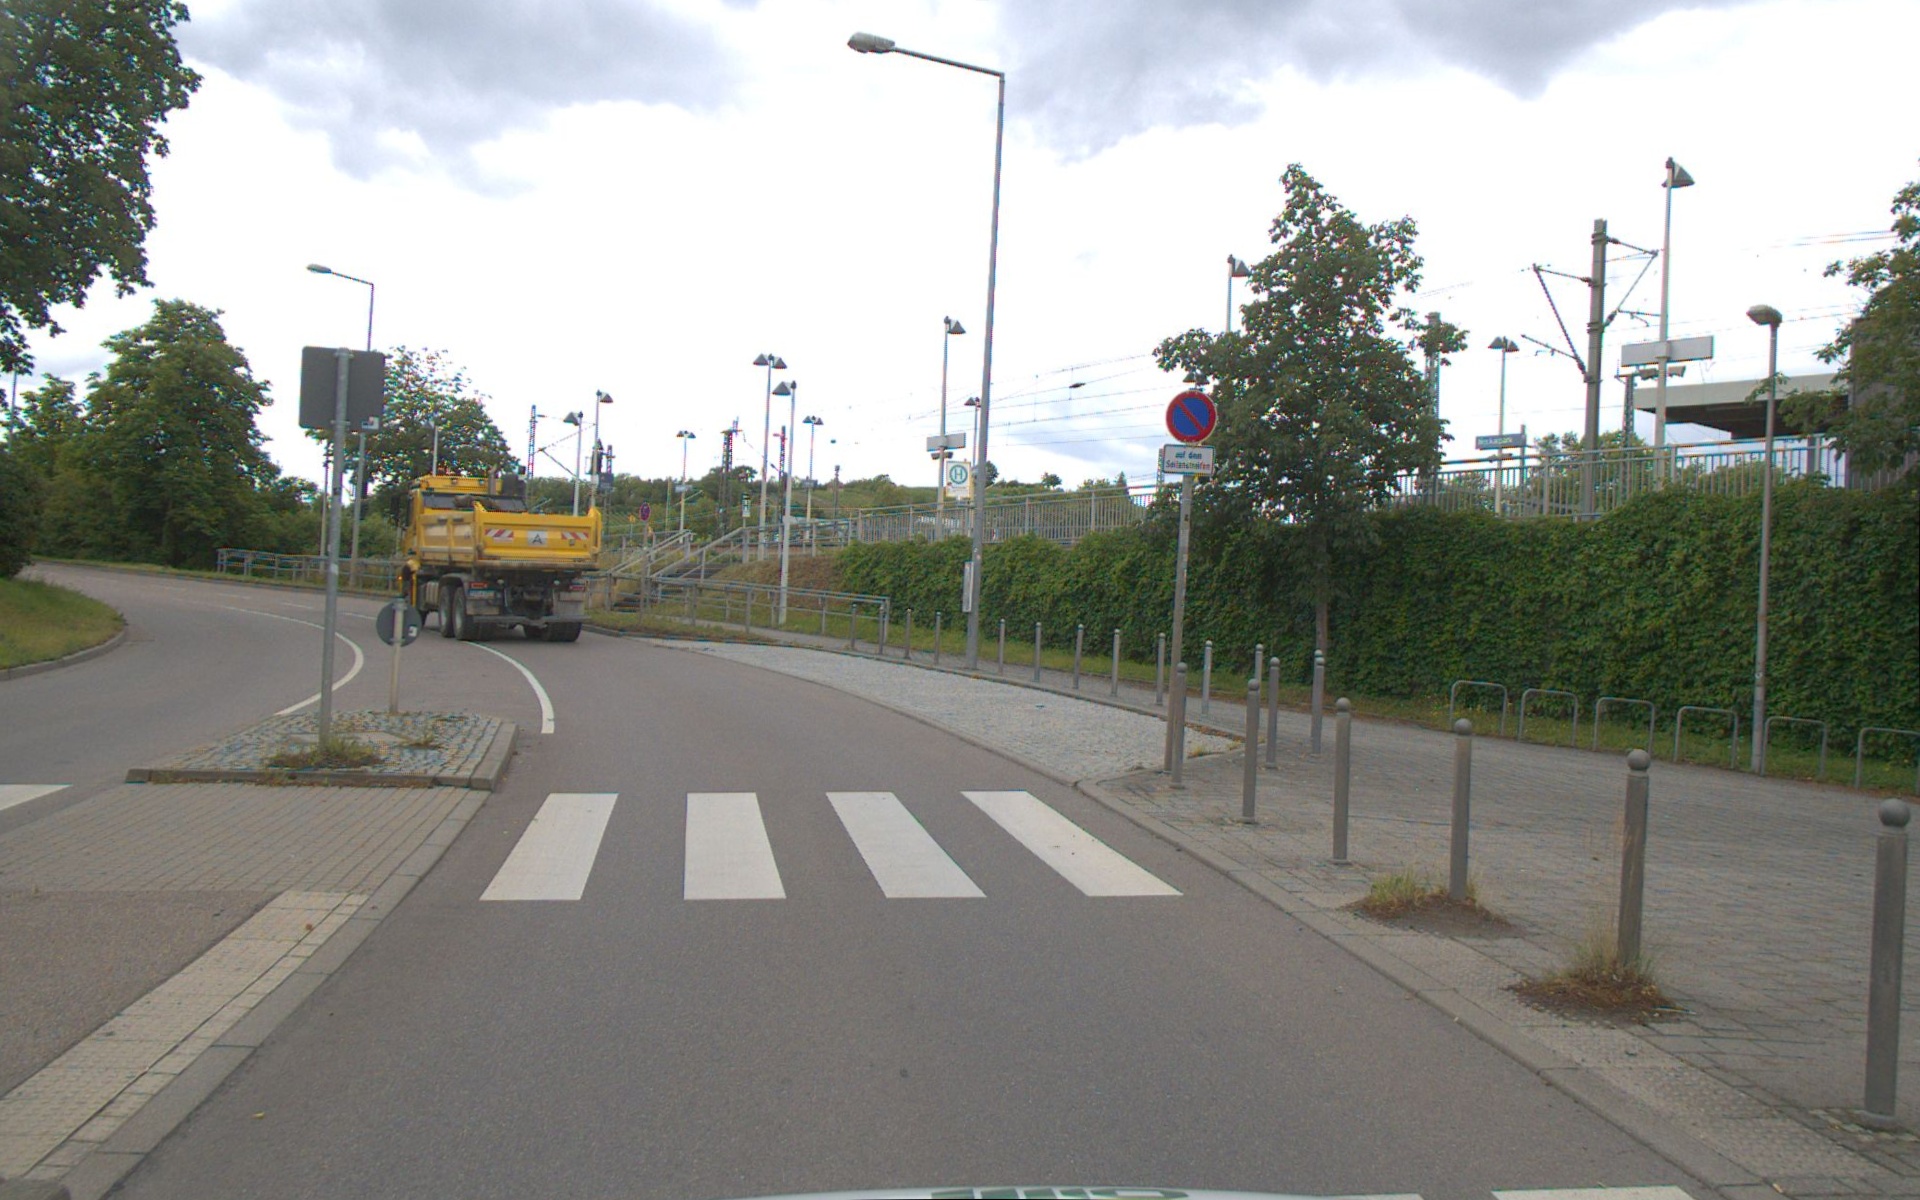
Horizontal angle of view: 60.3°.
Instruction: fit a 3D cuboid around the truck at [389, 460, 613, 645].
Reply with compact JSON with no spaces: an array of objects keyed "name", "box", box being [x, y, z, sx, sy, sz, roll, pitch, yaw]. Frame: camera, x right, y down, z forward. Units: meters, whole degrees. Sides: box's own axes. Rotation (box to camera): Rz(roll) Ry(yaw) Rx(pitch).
[{"name":"truck","box":[-10.182,-1.075,35.997,2.735,3.543,8.050,2,2,-30]}]
